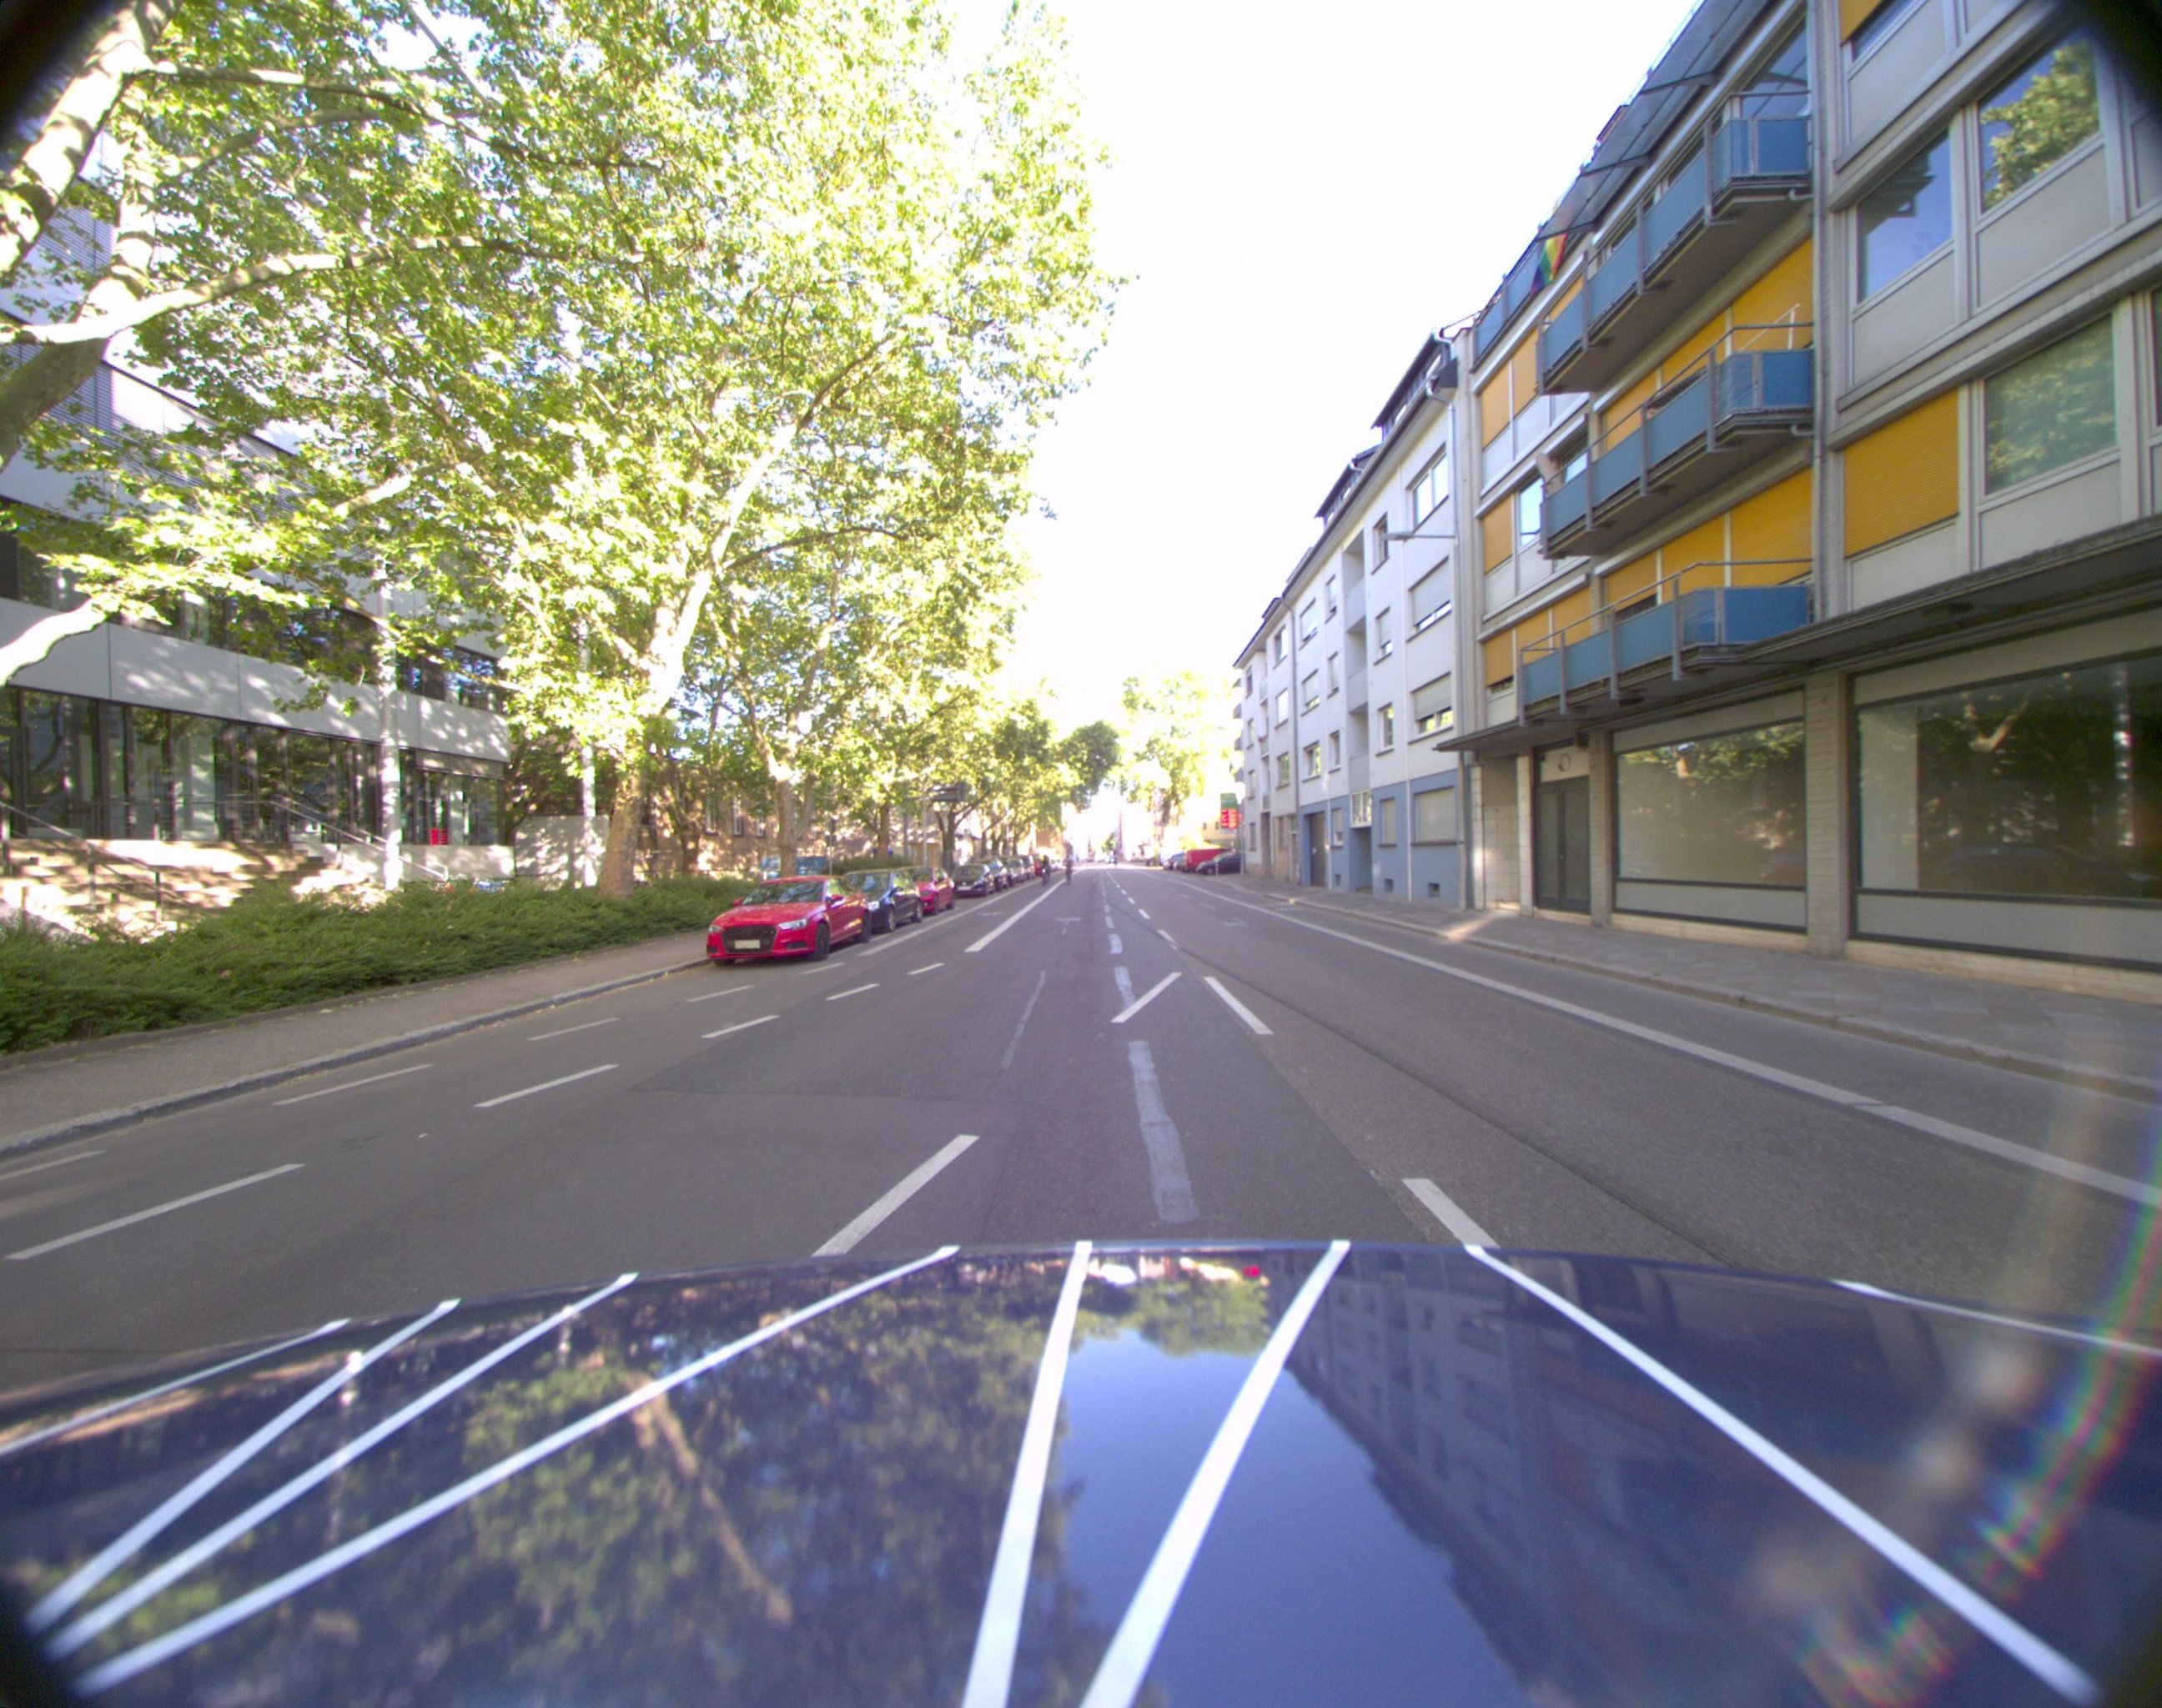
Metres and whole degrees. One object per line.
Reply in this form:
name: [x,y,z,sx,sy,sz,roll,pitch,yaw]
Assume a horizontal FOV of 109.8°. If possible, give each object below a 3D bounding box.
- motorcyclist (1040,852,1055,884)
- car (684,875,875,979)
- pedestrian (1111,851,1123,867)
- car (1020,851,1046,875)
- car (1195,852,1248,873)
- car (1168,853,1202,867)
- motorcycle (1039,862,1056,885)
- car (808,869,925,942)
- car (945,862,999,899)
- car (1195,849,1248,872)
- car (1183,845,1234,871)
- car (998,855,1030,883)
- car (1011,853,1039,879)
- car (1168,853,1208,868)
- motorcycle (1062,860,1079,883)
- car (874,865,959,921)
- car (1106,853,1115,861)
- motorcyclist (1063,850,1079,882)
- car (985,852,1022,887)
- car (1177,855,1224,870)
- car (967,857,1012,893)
motorcyclist: [-1.861,0.769,41.834,0.719,1.733,0.751,-2,1,1]
car: [-5.164,1.178,13.660,1.794,1.384,3.999,-2,1,0]
pedestrian: [3.889,0.515,81.667,0.894,1.727,0.827,-3,1,-41]
car: [-4.175,0.721,66.094,1.915,1.940,3.769,-2,1,0]
car: [10.087,0.586,54.732,3.508,1.380,1.490,-2,1,2]
car: [10.317,0.578,75.470,3.271,1.238,1.345,-2,1,2]
motorcycle: [-1.843,1.050,41.867,0.799,1.125,2.236,-2,1,1]
car: [-5.053,1.161,18.413,1.669,1.410,3.697,-2,1,1]
car: [-4.697,1.110,33.239,1.692,1.414,3.923,-2,1,0]
car: [10.530,0.481,57.101,3.687,1.503,1.490,-2,1,2]
car: [10.056,0.317,59.945,3.688,1.897,1.490,-2,-1,-1]
car: [-4.358,0.938,50.114,1.634,1.604,4.576,-2,1,0]
car: [-4.042,0.813,55.242,1.634,1.725,3.769,-2,1,0]
car: [10.262,0.623,73.032,3.687,1.238,1.345,-2,1,2]
motorcycle: [-0.555,0.978,42.382,0.865,1.161,1.929,-2,1,1]
car: [-5.016,1.131,23.687,1.692,1.441,3.923,-2,1,1]
car: [6.232,0.627,160.433,1.752,1.423,4.266,-2,0,2]
motorcyclist: [-0.568,0.667,42.560,0.833,1.778,0.913,-2,1,1]
car: [-4.459,0.852,44.242,1.634,1.781,4.576,-2,1,0]
car: [9.807,0.690,62.591,3.687,1.122,1.345,-2,1,2]
car: [-4.522,0.991,38.109,1.634,1.569,4.231,-2,1,0]
